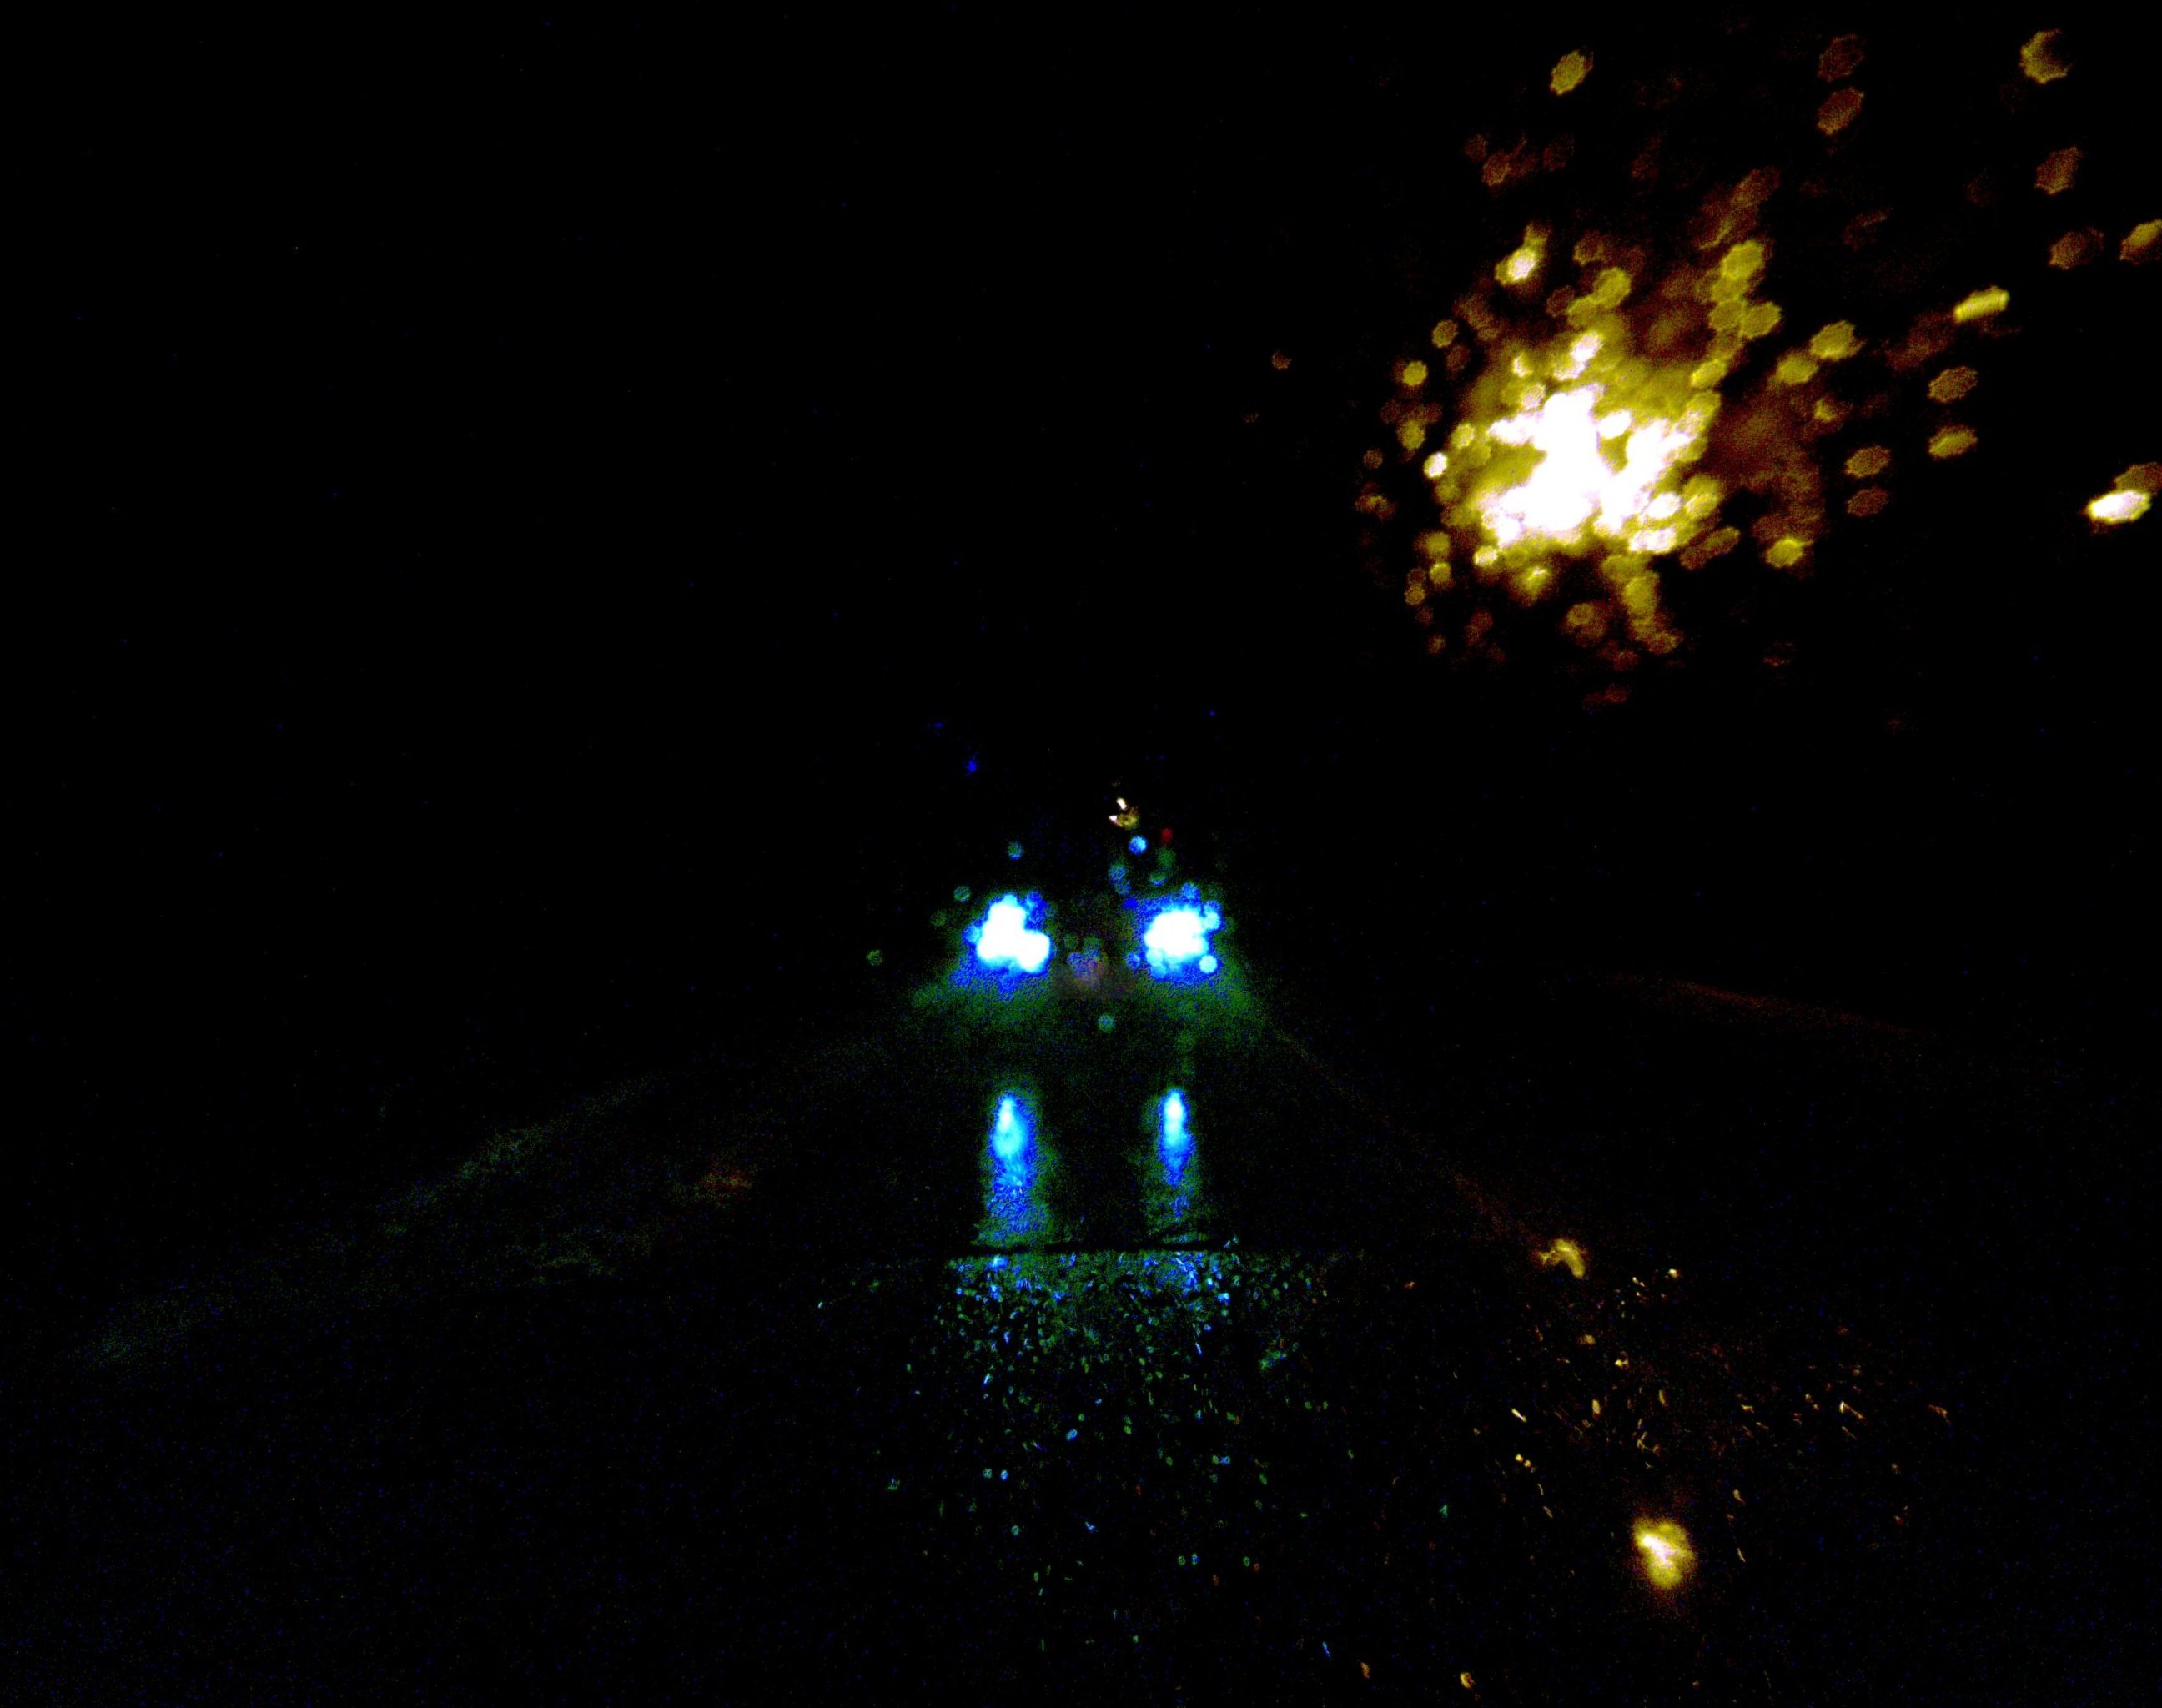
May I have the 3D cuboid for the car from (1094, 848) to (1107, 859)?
[{"bbox_3d":[2.909,-0.105,113.795,1.878,1.536,4.356,1,-1,1],"label":"car"}]

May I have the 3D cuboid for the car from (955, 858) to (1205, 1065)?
[{"bbox_3d":[0.037,0.863,8.382,1.944,1.580,4.775,-1,0,1],"label":"car"}]

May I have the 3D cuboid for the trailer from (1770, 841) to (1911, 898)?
[{"bbox_3d":[33.461,0.631,33.622,3.801,2.206,1.976,3,3,18],"label":"trailer"}]
